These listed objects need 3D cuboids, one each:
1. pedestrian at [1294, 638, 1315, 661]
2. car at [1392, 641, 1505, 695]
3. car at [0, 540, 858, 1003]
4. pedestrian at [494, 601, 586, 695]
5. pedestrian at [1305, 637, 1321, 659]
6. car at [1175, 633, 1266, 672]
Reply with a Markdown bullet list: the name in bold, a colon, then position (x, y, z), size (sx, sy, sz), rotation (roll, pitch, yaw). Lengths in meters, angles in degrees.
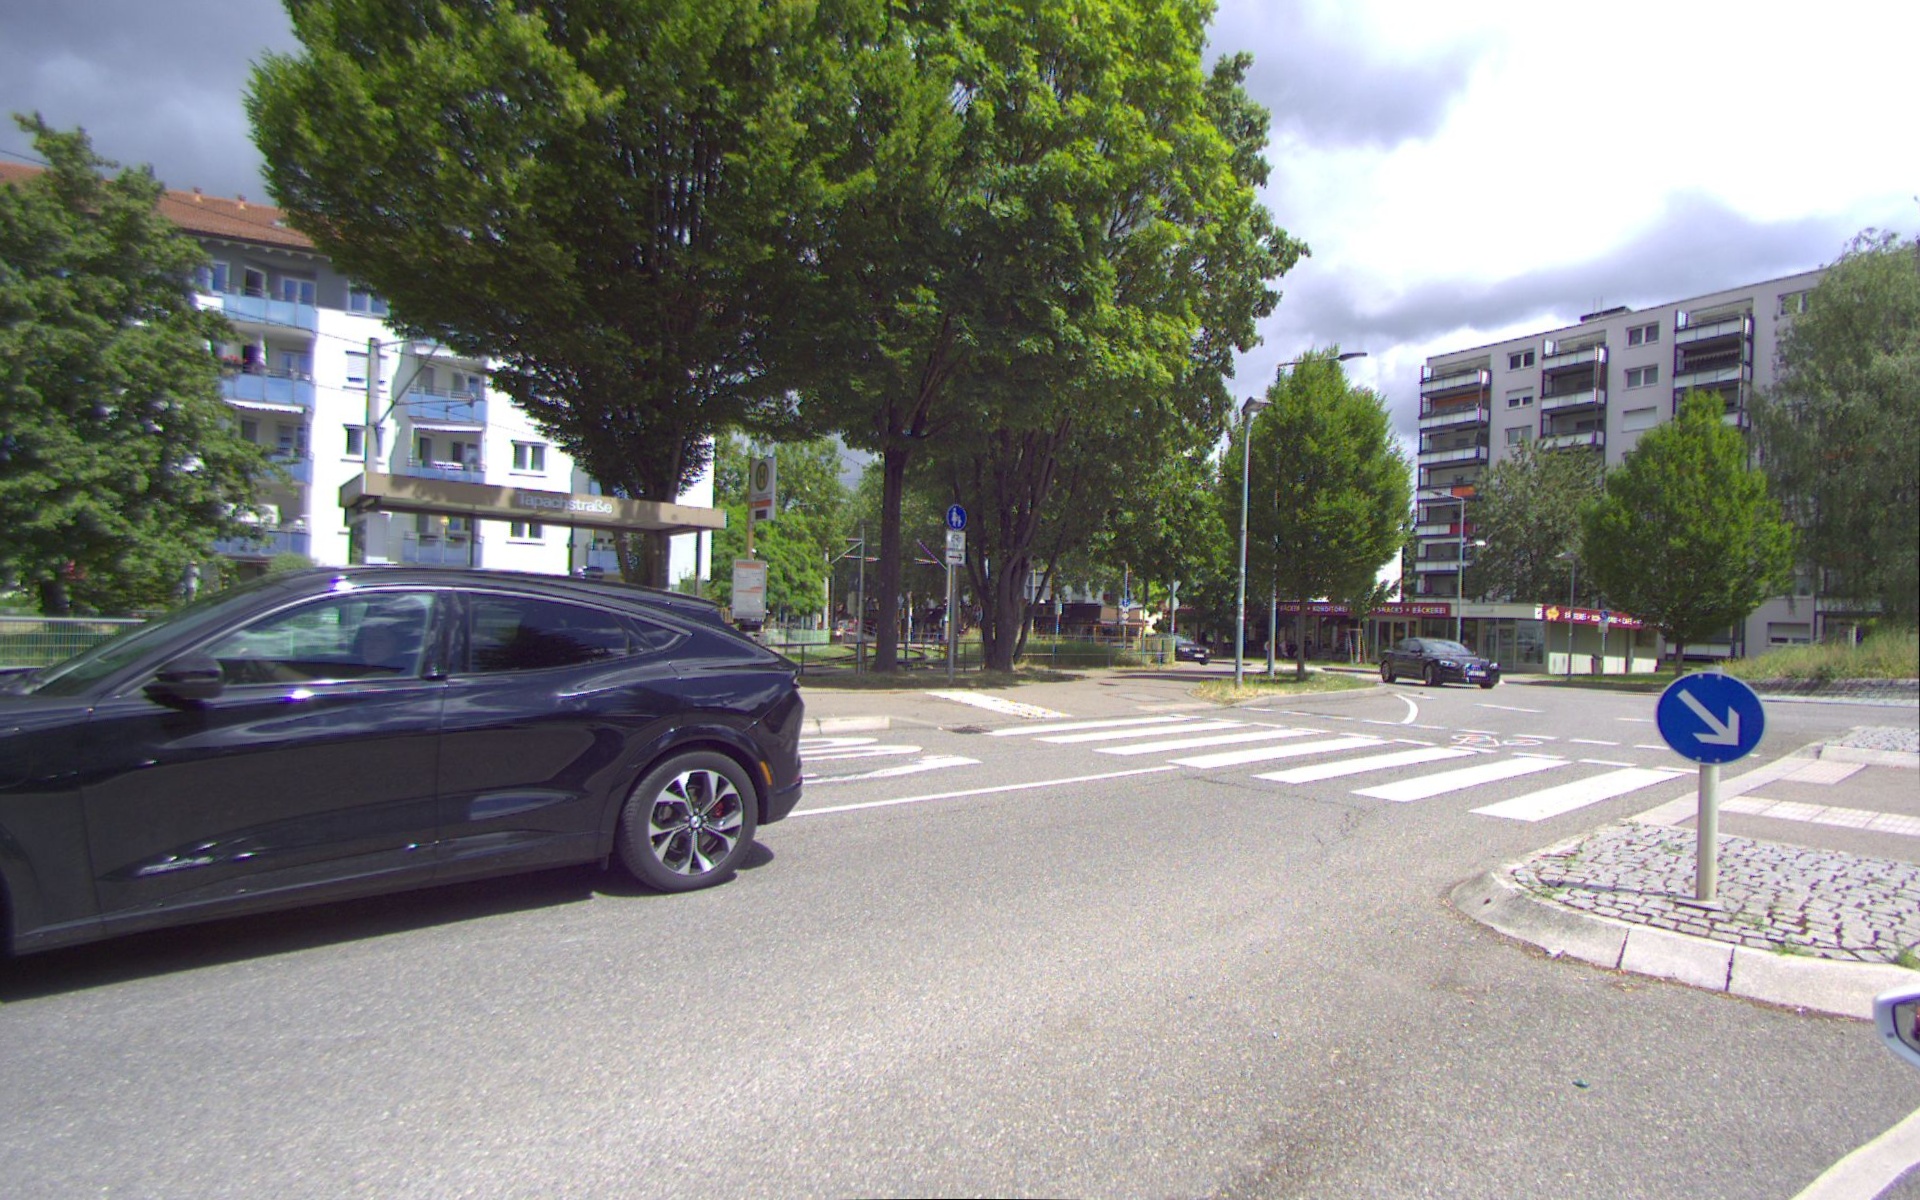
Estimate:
- **pedestrian**: position (21.455, 3.078, 62.546), size (0.870, 1.342, 0.816), rotation (2, 1, -32)
- **car**: position (14.387, 1.958, 29.861), size (1.786, 1.402, 4.621), rotation (1, -2, 10)
- **car**: position (-2.914, 0.592, 4.896), size (4.488, 1.546, 1.977), rotation (2, 0, -40)
- **pedestrian**: position (-5.427, 0.604, 12.969), size (0.903, 1.150, 0.792), rotation (2, 0, -38)
- **pedestrian**: position (22.152, 3.008, 63.039), size (0.710, 1.399, 0.695), rotation (2, -2, -25)
- **car**: position (11.726, 2.344, 45.500), size (1.831, 1.474, 4.368), rotation (2, 0, -20)
